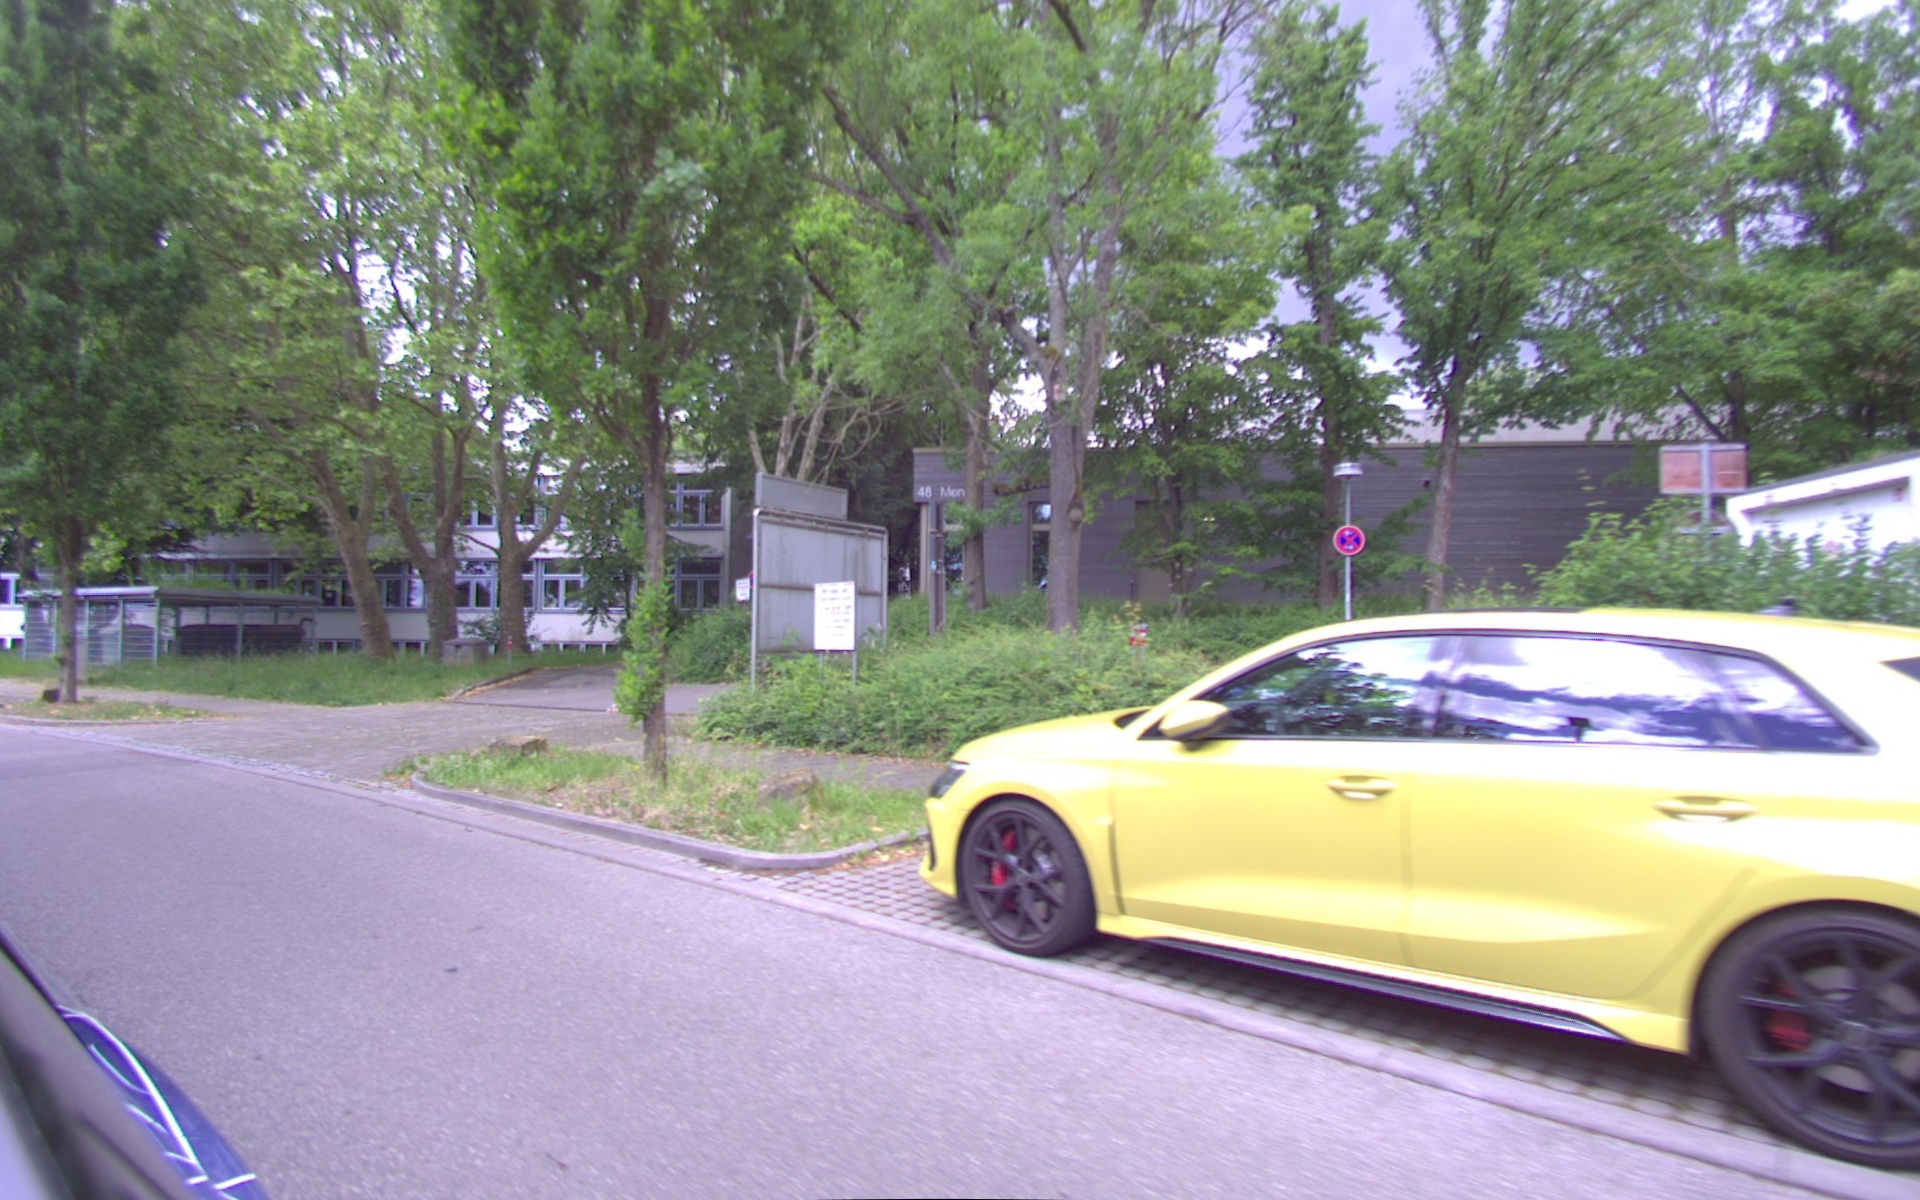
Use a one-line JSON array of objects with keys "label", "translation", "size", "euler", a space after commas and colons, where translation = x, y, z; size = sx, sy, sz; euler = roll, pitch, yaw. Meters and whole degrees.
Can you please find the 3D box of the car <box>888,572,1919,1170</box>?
[{"label": "car", "translation": [1.849, 0.669, 3.839], "size": [4.269, 1.413, 1.683], "euler": [-1, -2, 39]}]
